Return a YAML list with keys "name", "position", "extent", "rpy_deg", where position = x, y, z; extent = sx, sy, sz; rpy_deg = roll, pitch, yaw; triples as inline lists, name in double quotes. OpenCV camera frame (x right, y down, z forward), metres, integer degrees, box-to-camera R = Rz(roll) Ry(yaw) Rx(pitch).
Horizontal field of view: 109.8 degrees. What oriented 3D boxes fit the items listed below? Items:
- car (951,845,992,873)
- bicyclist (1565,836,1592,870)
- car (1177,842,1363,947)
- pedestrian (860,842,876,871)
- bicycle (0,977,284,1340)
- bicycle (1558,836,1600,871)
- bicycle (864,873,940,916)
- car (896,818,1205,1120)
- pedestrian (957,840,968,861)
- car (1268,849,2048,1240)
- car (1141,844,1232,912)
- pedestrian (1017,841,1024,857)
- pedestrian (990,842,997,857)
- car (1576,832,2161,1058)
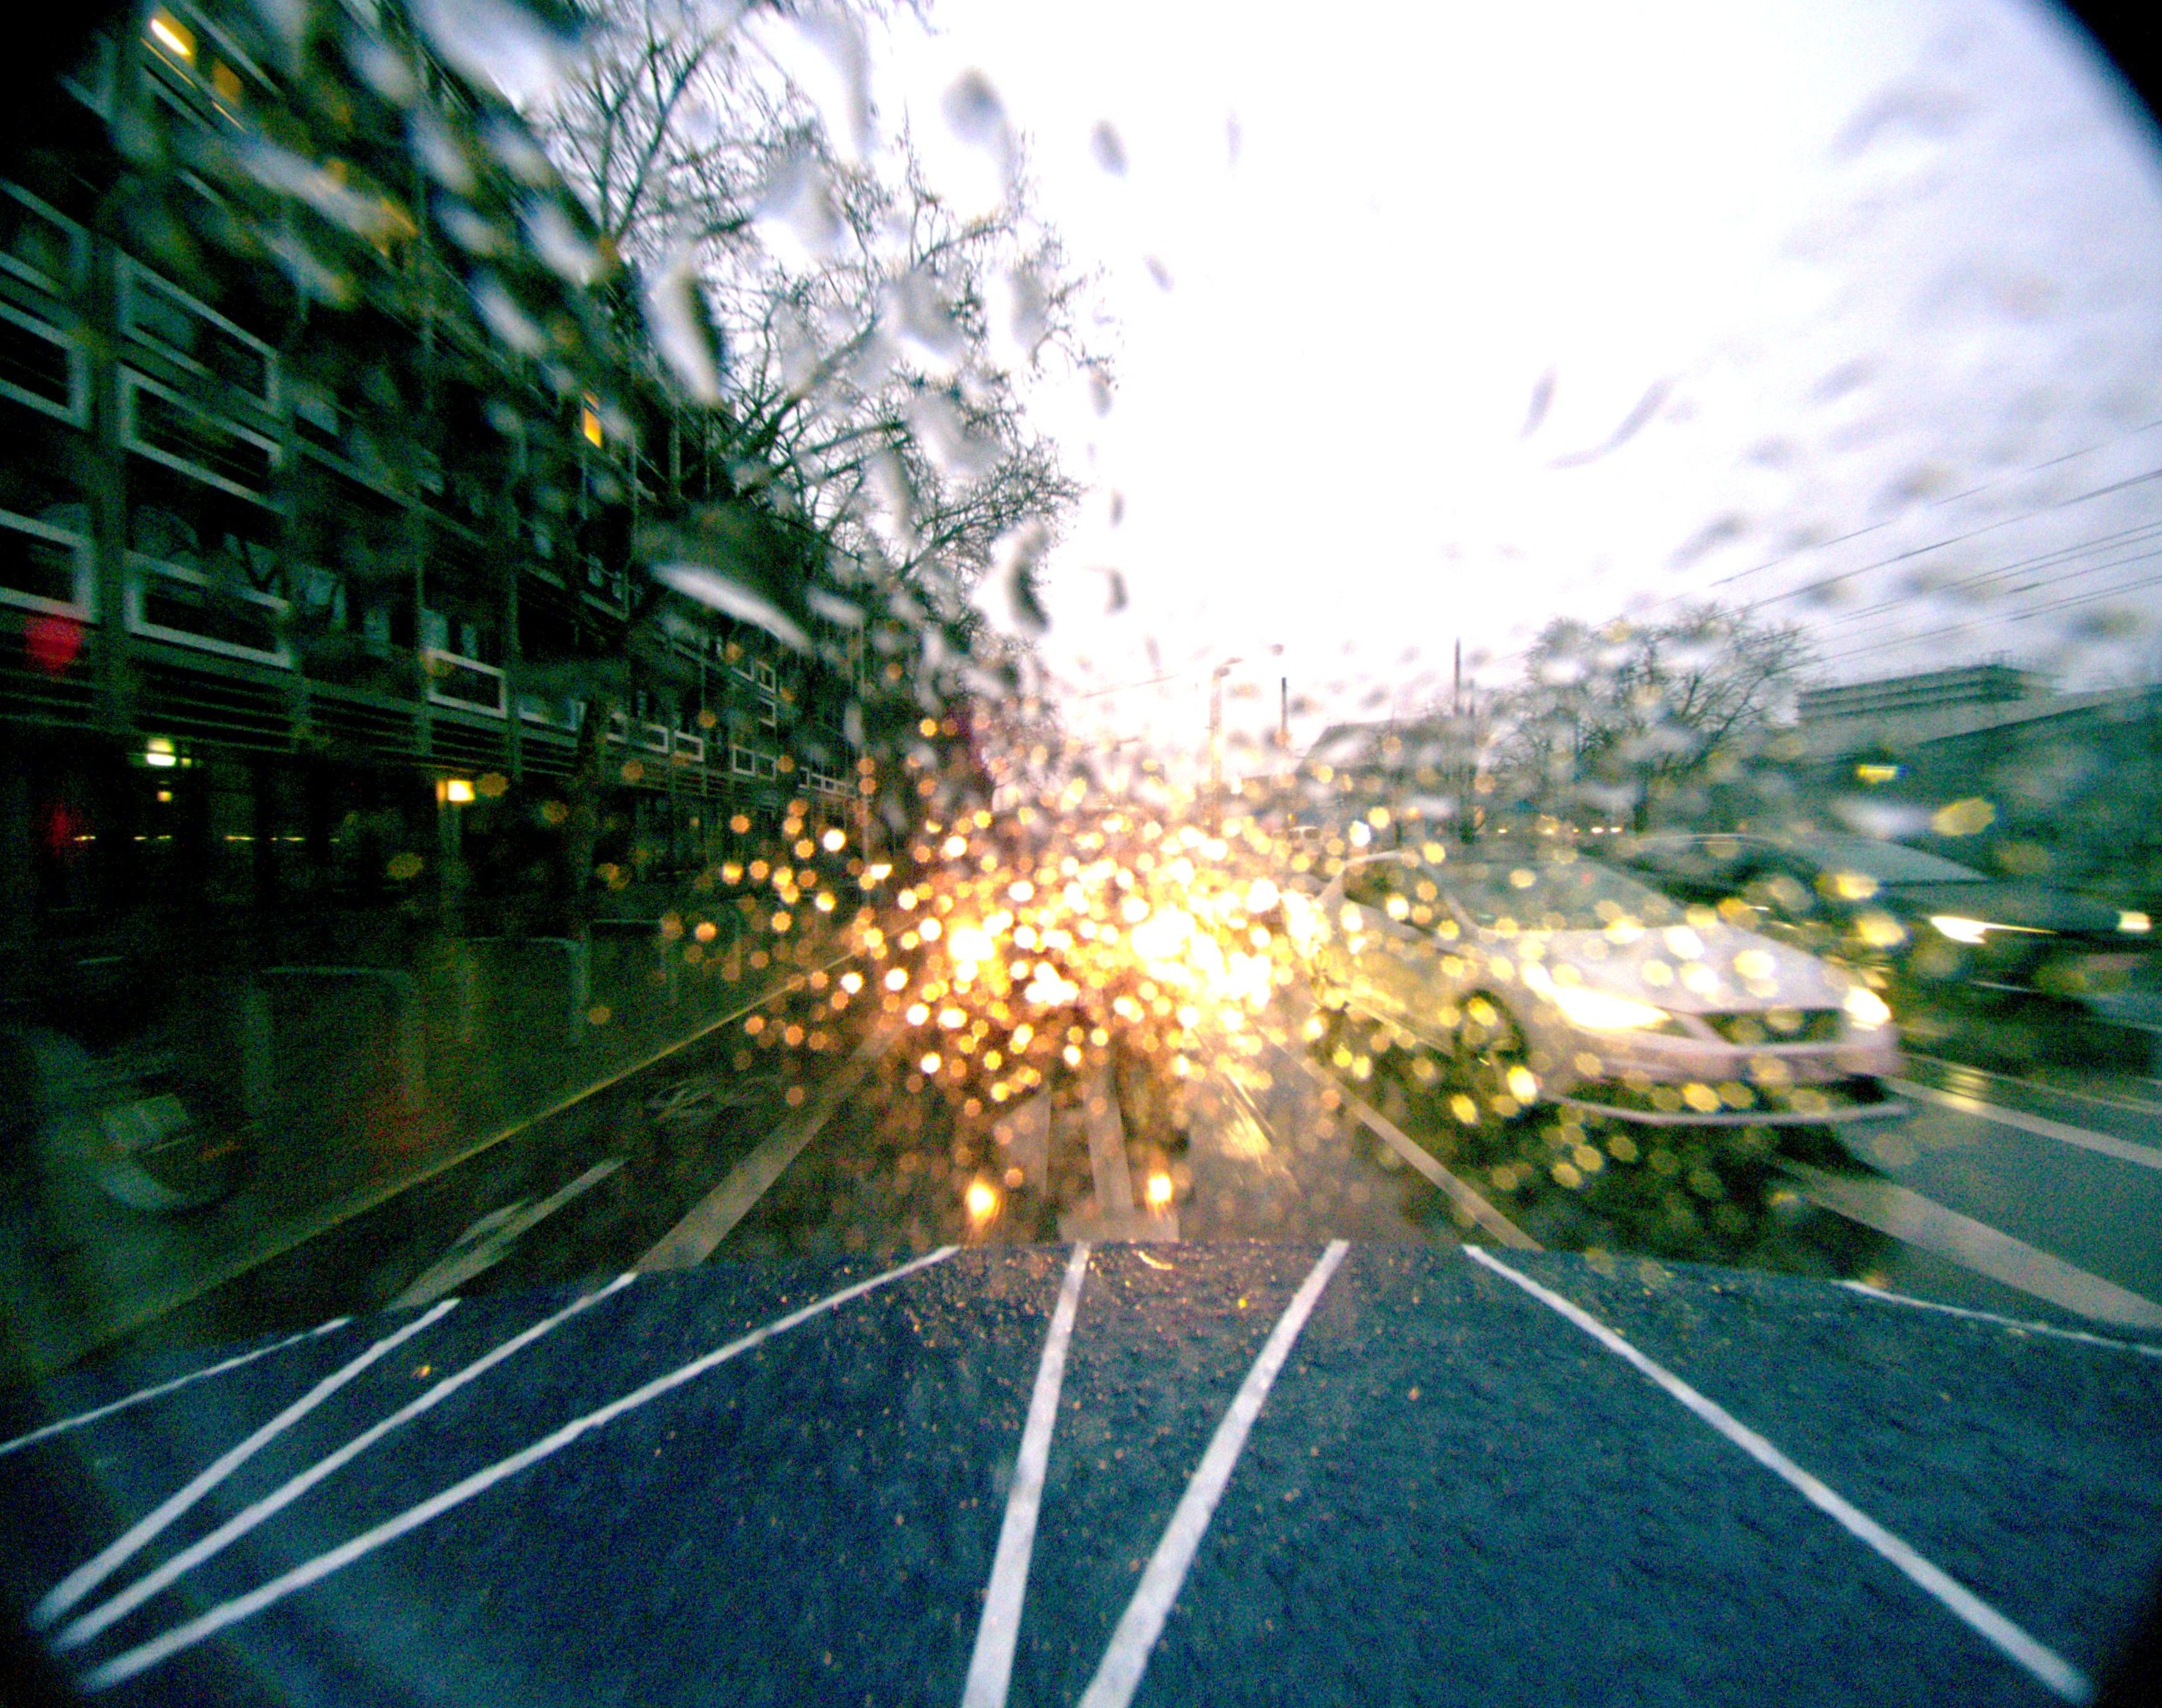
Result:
- name: "car"
  position: [-6.409, 0.267, 44.833]
  extent: [1.713, 1.455, 3.999]
  rpy_deg: [-2, 1, 0]
- name: "bicyclist"
  position: [26.076, -0.048, 39.809]
  extent: [0.763, 1.723, 0.960]
  rpy_deg: [-2, 3, -2]
- name: "car"
  position: [2.997, 0.541, 13.150]
  extent: [1.999, 1.478, 4.504]
  rpy_deg: [-1, 1, -1]
- name: "pedestrian"
  position: [-12.998, 0.172, 46.338]
  extent: [0.766, 1.740, 0.928]
  rpy_deg: [0, 2, -4]
- name: "bicycle"
  position: [-4.324, 1.092, 2.925]
  extent: [1.811, 1.124, 0.640]
  rpy_deg: [1, 0, 0]
- name: "bicycle"
  position: [26.072, -0.046, 39.830]
  extent: [0.763, 1.723, 2.062]
  rpy_deg: [-2, 3, -2]
- name: "bicycle"
  position: [-4.498, 1.008, 19.170]
  extent: [1.704, 0.987, 0.879]
  rpy_deg: [1, 2, 0]
- name: "car"
  position: [-0.280, 0.681, 6.795]
  extent: [1.878, 1.831, 3.998]
  rpy_deg: [-2, 1, -3]
- name: "pedestrian"
  position: [-9.742, -0.275, 62.536]
  extent: [0.766, 1.740, 0.928]
  rpy_deg: [0, 2, -4]
- name: "car"
  position: [2.979, 0.765, 5.393]
  extent: [1.949, 1.478, 4.503]
  rpy_deg: [-2, 1, -3]
- name: "car"
  position: [2.744, 0.556, 20.649]
  extent: [1.907, 1.565, 3.999]
  rpy_deg: [-2, 1, 0]
- name: "pedestrian"
  position: [-7.026, -0.585, 88.017]
  extent: [0.766, 1.740, 0.928]
  rpy_deg: [0, 2, -4]
- name: "pedestrian"
  position: [-9.713, -0.503, 84.247]
  extent: [0.766, 1.740, 0.928]
  rpy_deg: [0, 2, -4]
- name: "car"
  position: [7.349, 0.558, 7.468]
  extent: [1.853, 1.499, 4.661]
  rpy_deg: [-1, 2, -1]
